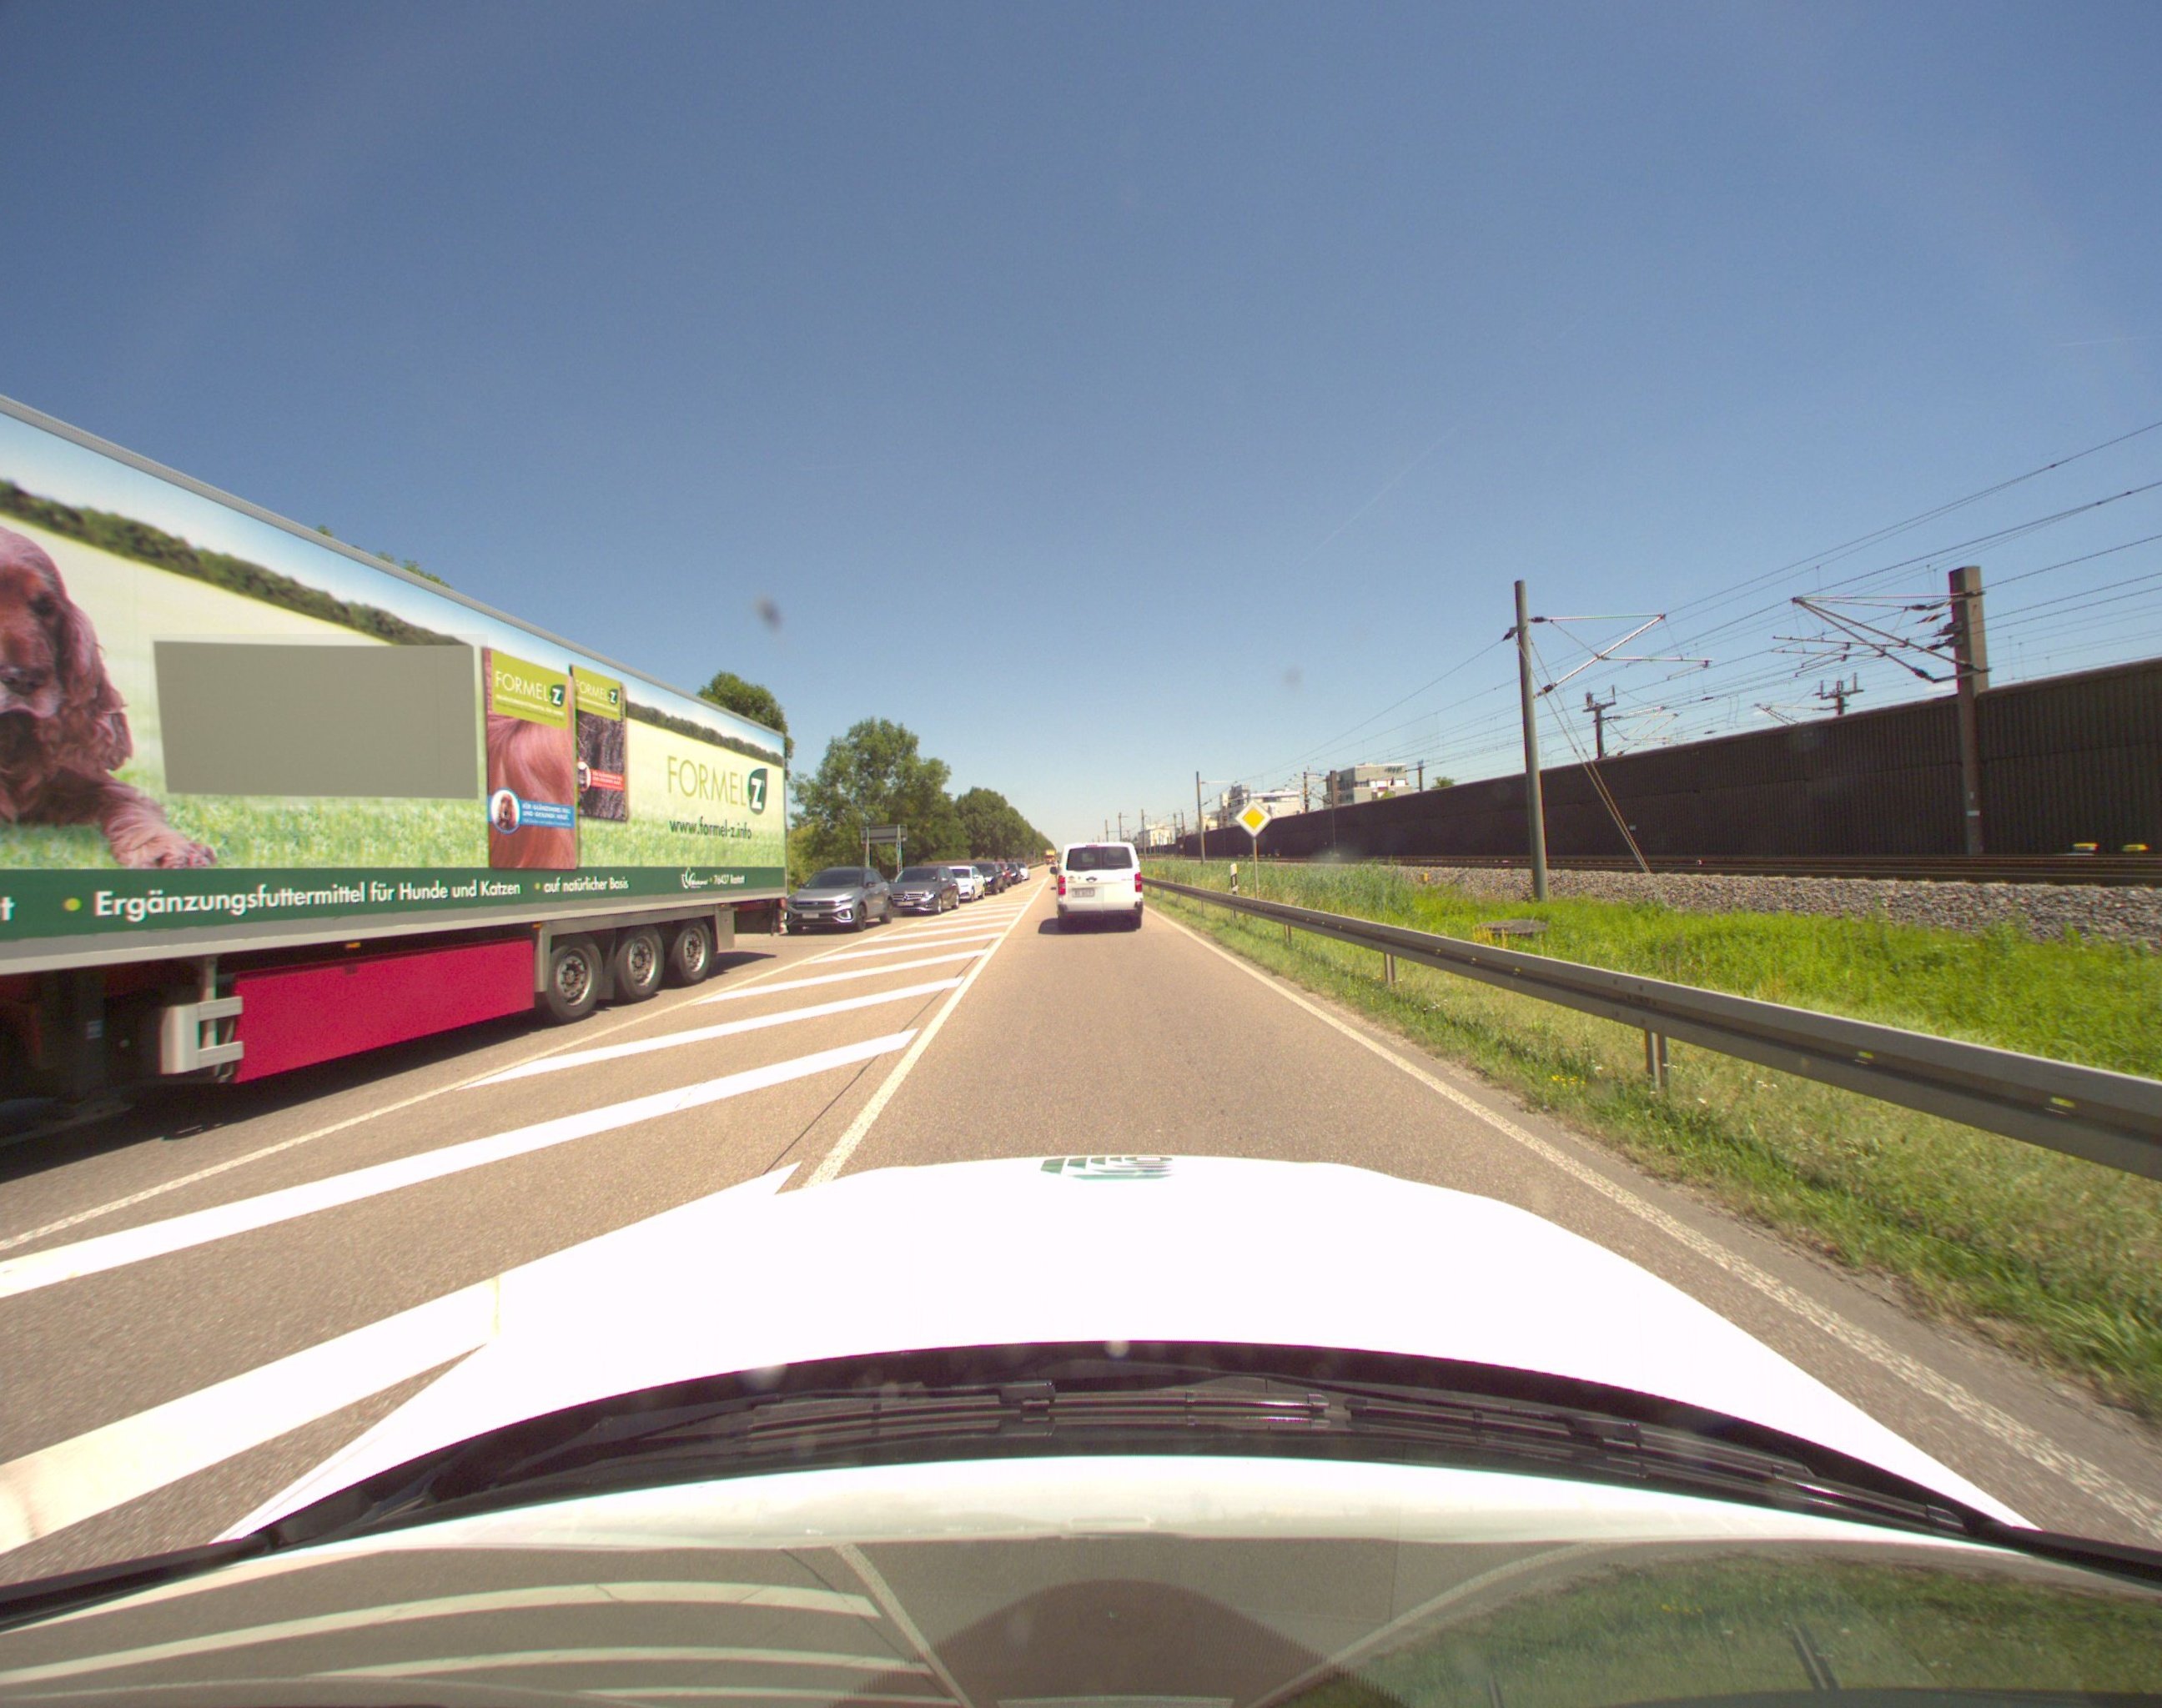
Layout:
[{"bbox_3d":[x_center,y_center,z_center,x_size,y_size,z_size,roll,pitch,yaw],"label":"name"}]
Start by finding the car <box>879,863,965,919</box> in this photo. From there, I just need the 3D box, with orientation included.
[{"bbox_3d":[-5.065,1.136,26.543,1.617,1.537,4.388,-3,0,3],"label":"car"}]

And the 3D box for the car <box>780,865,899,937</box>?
[{"bbox_3d":[-6.024,1.108,20.828,1.706,1.562,4.155,-2,0,1],"label":"car"}]

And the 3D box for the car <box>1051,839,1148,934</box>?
[{"bbox_3d":[0.339,0.689,19.256,1.940,1.881,4.878,-2,-1,-1],"label":"car"}]

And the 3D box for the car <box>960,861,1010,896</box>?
[{"bbox_3d":[-4.756,1.184,40.885,1.710,1.589,4.537,-2,0,2],"label":"car"}]

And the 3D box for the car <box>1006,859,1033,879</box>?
[{"bbox_3d":[-4.744,1.181,63.785,1.680,1.460,4.616,-1,0,0],"label":"car"}]

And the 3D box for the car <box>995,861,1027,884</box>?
[{"bbox_3d":[-4.831,1.257,56.354,1.679,1.460,4.617,-1,0,1],"label":"car"}]

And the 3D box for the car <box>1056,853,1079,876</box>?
[{"bbox_3d":[-1.220,0.928,74.766,2.001,2.022,4.781,-2,0,0],"label":"car"}]

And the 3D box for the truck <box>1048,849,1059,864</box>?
[{"bbox_3d":[-7.339,0.743,217.896,2.784,3.840,9.319,-2,0,-1],"label":"truck"}]

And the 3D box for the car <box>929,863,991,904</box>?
[{"bbox_3d":[-4.996,1.189,34.162,1.646,1.479,4.633,-2,0,3],"label":"car"}]

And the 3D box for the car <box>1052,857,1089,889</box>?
[{"bbox_3d":[-0.649,1.046,45.504,1.901,1.649,4.137,-1,0,-3],"label":"car"}]

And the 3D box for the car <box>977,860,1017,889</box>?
[{"bbox_3d":[-5.034,1.201,49.174,1.749,1.631,4.281,-2,0,2],"label":"car"}]

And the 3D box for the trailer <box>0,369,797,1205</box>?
[{"bbox_3d":[-6.539,-0.275,7.603,2.680,4.045,14.122,-2,-1,0],"label":"trailer"}]
